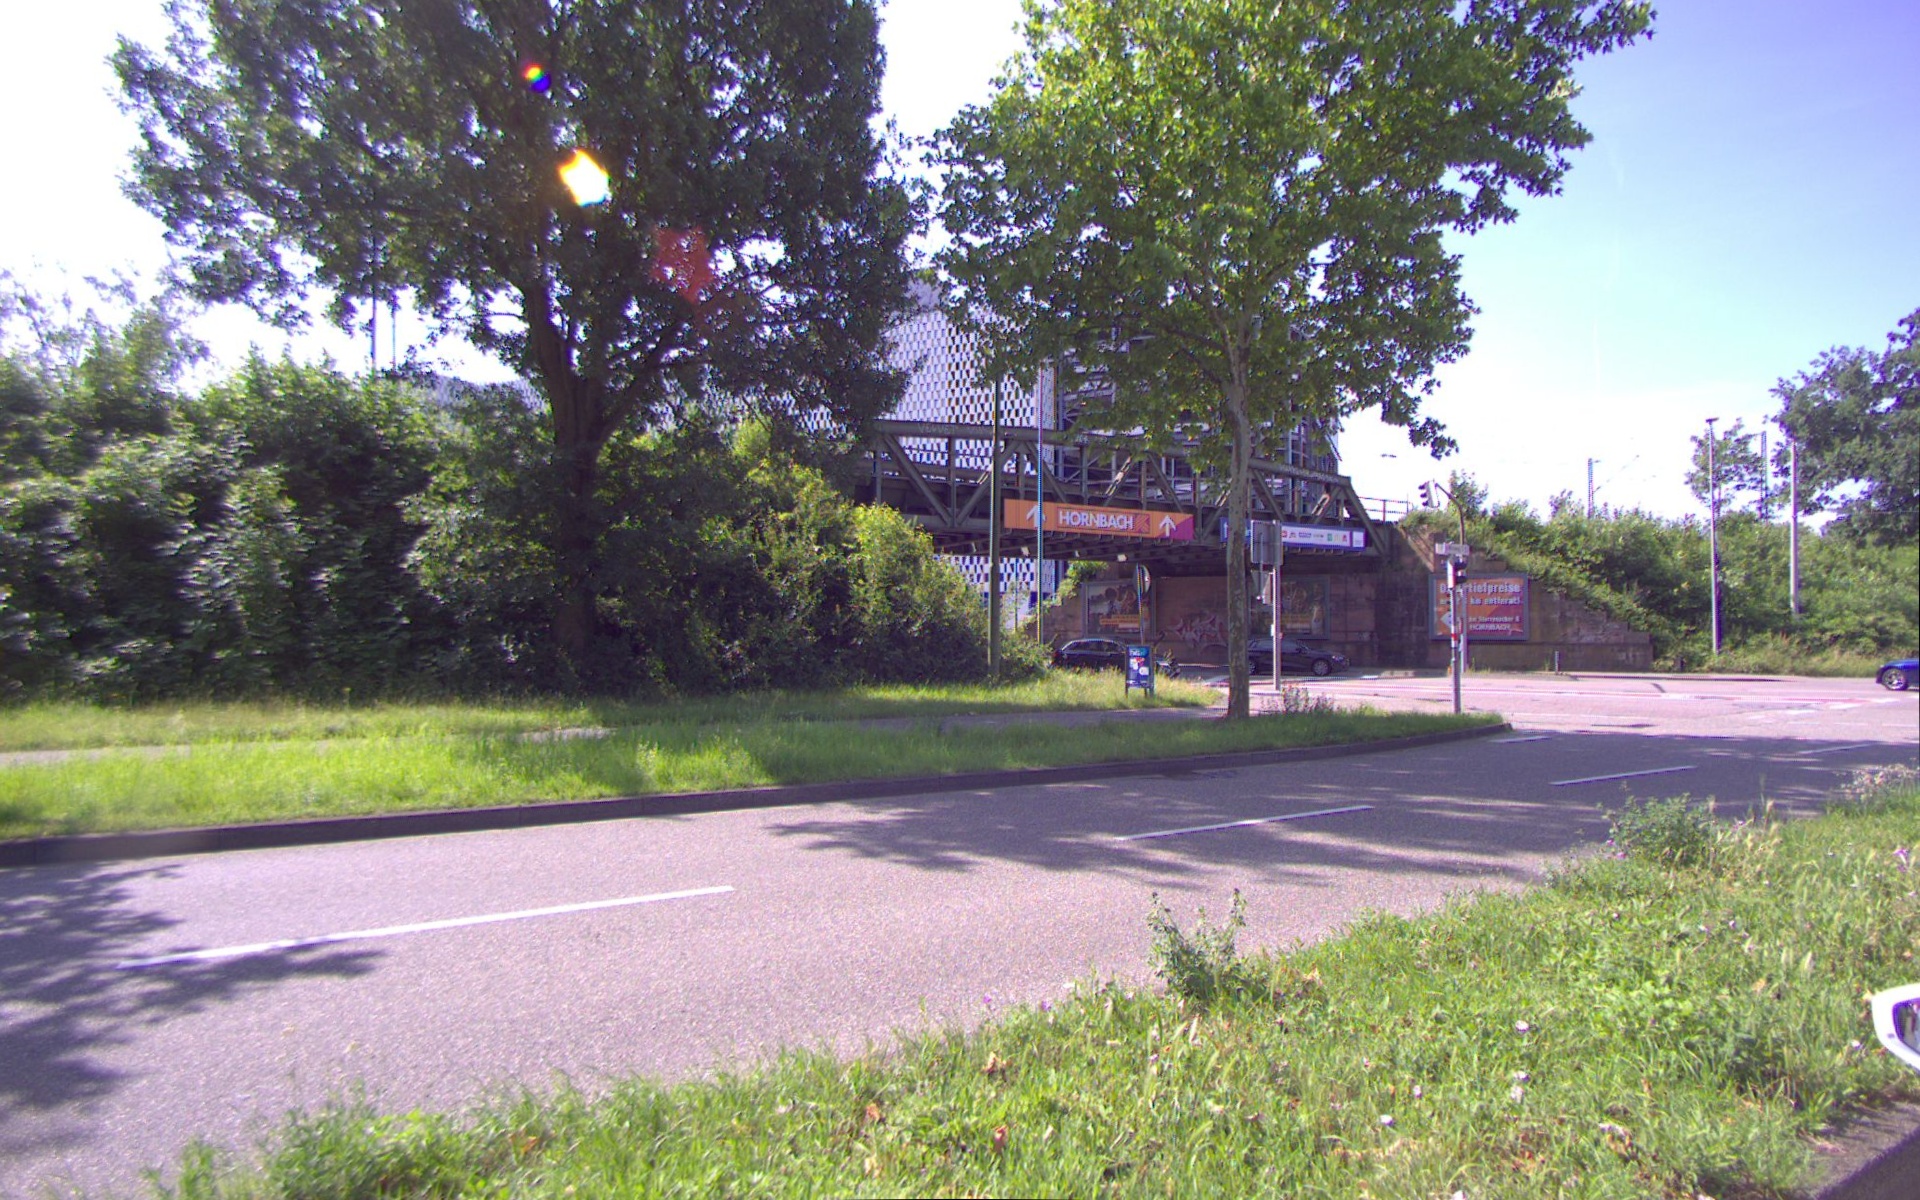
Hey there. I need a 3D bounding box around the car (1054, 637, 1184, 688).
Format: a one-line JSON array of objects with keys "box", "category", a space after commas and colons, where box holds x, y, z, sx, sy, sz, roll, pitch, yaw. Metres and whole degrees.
[{"box": [5.206, 2.002, 32.908, 3.869, 1.500, 1.822, 0, -2, 25], "category": "car"}]

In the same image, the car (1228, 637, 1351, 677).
[{"box": [12.433, 2.114, 37.888, 4.253, 1.413, 1.770, -1, -2, 24], "category": "car"}]

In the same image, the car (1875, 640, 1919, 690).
[{"box": [28.548, 1.849, 28.047, 1.759, 1.415, 4.320, 1, -2, -8], "category": "car"}]
